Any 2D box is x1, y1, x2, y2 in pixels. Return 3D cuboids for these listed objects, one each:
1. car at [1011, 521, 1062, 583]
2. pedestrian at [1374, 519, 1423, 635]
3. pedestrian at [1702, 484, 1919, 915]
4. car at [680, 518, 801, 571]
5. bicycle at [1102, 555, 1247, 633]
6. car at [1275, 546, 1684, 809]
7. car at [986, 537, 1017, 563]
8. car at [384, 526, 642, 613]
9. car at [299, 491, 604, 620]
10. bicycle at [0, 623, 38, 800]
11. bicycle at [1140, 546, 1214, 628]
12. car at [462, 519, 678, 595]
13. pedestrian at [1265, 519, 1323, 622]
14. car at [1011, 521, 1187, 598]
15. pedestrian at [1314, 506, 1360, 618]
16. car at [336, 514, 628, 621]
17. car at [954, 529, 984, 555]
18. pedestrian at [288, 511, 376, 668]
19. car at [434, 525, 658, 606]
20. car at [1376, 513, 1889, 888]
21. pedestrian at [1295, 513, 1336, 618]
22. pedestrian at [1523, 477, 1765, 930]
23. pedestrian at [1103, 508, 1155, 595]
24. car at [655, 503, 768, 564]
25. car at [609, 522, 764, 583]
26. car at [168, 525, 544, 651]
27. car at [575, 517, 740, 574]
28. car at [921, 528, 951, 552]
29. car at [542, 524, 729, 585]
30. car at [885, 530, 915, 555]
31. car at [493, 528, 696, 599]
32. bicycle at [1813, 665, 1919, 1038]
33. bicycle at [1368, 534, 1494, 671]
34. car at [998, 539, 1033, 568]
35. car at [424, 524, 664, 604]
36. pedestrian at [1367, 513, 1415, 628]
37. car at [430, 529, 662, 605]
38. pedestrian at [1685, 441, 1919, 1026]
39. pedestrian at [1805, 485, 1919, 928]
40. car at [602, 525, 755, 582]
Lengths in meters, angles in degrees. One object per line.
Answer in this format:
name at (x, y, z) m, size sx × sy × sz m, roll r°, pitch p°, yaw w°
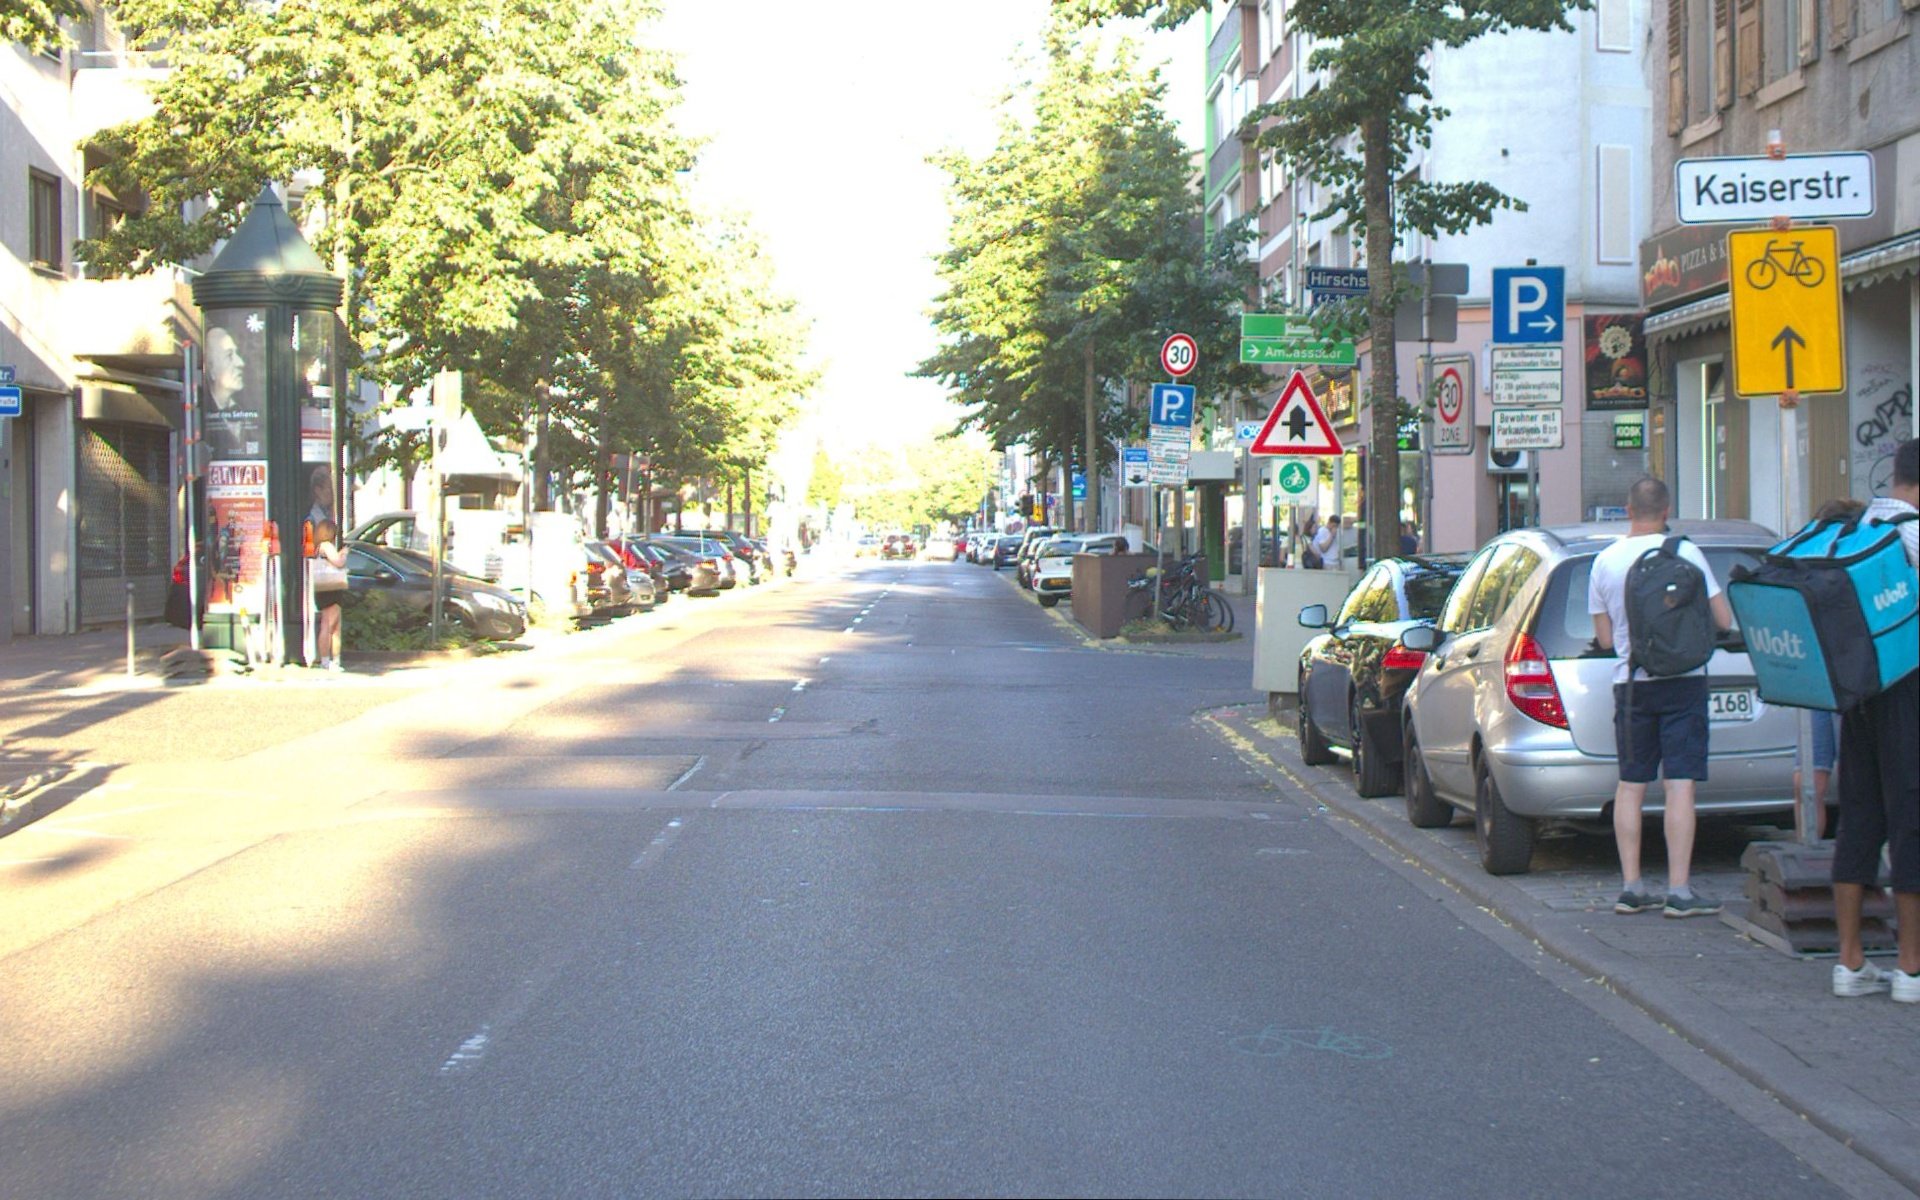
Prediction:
car at (2.326, -1.470, 105.393) m, size 1.513 × 1.858 × 4.235 m, roll 1°, pitch 1°, yaw 1°
pedestrian at (6.110, -0.325, 47.873) m, size 0.567 × 1.578 × 0.663 m, roll -1°, pitch 2°, yaw 0°
pedestrian at (3.590, 0.388, 14.173) m, size 0.677 × 1.700 × 0.825 m, roll -3°, pitch 1°, yaw -15°
car at (-8.329, -2.108, 130.550) m, size 4.442 × 1.953 × 1.919 m, roll 1°, pitch 1°, yaw 1°
bicycle at (3.036, -0.094, 48.722) m, size 1.958 × 1.070 × 0.704 m, roll 1°, pitch 1°, yaw 32°
car at (3.130, 0.401, 21.581) m, size 1.785 × 1.370 × 4.524 m, roll -2°, pitch 1°, yaw -1°
car at (2.083, -2.488, 171.126) m, size 1.513 × 1.259 × 3.304 m, roll 1°, pitch 1°, yaw 1°
car at (-8.110, -0.560, 62.629) m, size 4.442 × 1.501 × 1.845 m, roll 1°, pitch 1°, yaw 1°
car at (-8.087, -0.714, 54.953) m, size 4.571 × 1.955 × 1.991 m, roll 1°, pitch 1°, yaw 0°
bicycle at (-6.386, 0.619, 20.392) m, size 1.683 × 1.018 × 0.444 m, roll 3°, pitch 0°, yaw 8°
bicycle at (3.173, -0.202, 50.181) m, size 0.598 × 1.173 × 1.844 m, roll 1°, pitch 1°, yaw 19°
car at (-8.430, -0.930, 74.562) m, size 4.442 × 1.562 × 1.919 m, roll 1°, pitch 1°, yaw 1°
pedestrian at (5.315, -0.481, 54.655) m, size 0.797 × 1.620 × 0.911 m, roll 1°, pitch 1°, yaw 12°
car at (2.987, -0.870, 73.526) m, size 1.674 × 1.583 × 3.814 m, roll 2°, pitch 2°, yaw 43°
pedestrian at (6.110, -0.619, 55.748) m, size 0.698 × 1.798 × 0.891 m, roll 0°, pitch 1°, yaw 8°
car at (-7.979, -0.548, 57.649) m, size 4.571 × 1.692 × 2.060 m, roll 1°, pitch 1°, yaw 1°
car at (0.569, -3.458, 205.426) m, size 1.752 × 1.535 × 3.304 m, roll 0°, pitch 1°, yaw 1°
pedestrian at (-6.806, -0.120, 37.277) m, size 0.710 × 1.680 × 0.833 m, roll 0°, pitch 1°, yaw 9°
car at (-8.683, -0.732, 72.335) m, size 4.442 × 1.633 × 1.859 m, roll 1°, pitch 1°, yaw 1°
car at (3.182, 0.392, 17.018) m, size 1.687 × 1.569 × 4.013 m, roll -2°, pitch 1°, yaw 0°
pedestrian at (5.738, -0.565, 55.415) m, size 0.631 × 1.674 × 0.891 m, roll 0°, pitch 1°, yaw 7°
pedestrian at (2.724, 0.393, 13.744) m, size 0.677 × 1.748 × 0.825 m, roll -1°, pitch 1°, yaw -11°
pedestrian at (3.801, -1.094, 77.214) m, size 0.916 × 1.919 × 1.018 m, roll 1°, pitch 1°, yaw -10°
car at (-10.164, -2.729, 140.570) m, size 4.442 × 2.426 × 1.919 m, roll 1°, pitch 1°, yaw 1°
car at (-8.188, -1.438, 103.170) m, size 4.442 × 1.753 × 1.919 m, roll 1°, pitch 1°, yaw 1°
car at (-7.749, -0.163, 44.421) m, size 4.546 × 1.536 × 1.811 m, roll 1°, pitch 1°, yaw -1°
car at (-8.472, -1.534, 96.667) m, size 4.442 × 1.517 × 1.919 m, roll 1°, pitch 1°, yaw 1°
car at (-1.442, -3.657, 209.231) m, size 1.721 × 1.470 × 3.304 m, roll 0°, pitch 1°, yaw 1°
car at (-8.068, -1.137, 85.796) m, size 4.442 × 1.443 × 1.919 m, roll 1°, pitch 1°, yaw 1°
car at (-3.746, -3.549, 213.325) m, size 1.752 × 1.535 × 3.304 m, roll 0°, pitch 1°, yaw 1°
car at (-8.395, -0.845, 79.278) m, size 4.442 × 1.562 × 1.919 m, roll 1°, pitch 1°, yaw 1°
bicycle at (3.609, 0.749, 11.185) m, size 0.866 × 1.095 × 1.922 m, roll -1°, pitch 2°, yaw 39°
bicycle at (3.996, 0.010, 29.275) m, size 0.778 × 1.108 × 1.899 m, roll -1°, pitch 1°, yaw 0°
car at (2.467, -2.057, 152.970) m, size 1.513 × 1.271 × 3.304 m, roll 1°, pitch 1°, yaw 1°
car at (-8.108, -0.710, 67.270) m, size 4.442 × 1.479 × 1.809 m, roll 1°, pitch 1°, yaw 1°
pedestrian at (6.093, -0.418, 48.636) m, size 0.567 × 1.594 × 0.663 m, roll -1°, pitch 2°, yaw 0°
car at (-8.340, -0.673, 69.577) m, size 4.442 × 1.453 × 1.859 m, roll 1°, pitch 1°, yaw 1°
pedestrian at (3.036, 0.399, 11.252) m, size 1.013 × 1.819 × 0.780 m, roll -3°, pitch 1°, yaw -10°
pedestrian at (3.808, 0.396, 13.457) m, size 0.651 × 1.694 × 0.668 m, roll -4°, pitch 2°, yaw -44°
car at (-8.255, -1.358, 101.068) m, size 4.304 × 1.592 × 1.919 m, roll 1°, pitch 1°, yaw 1°
